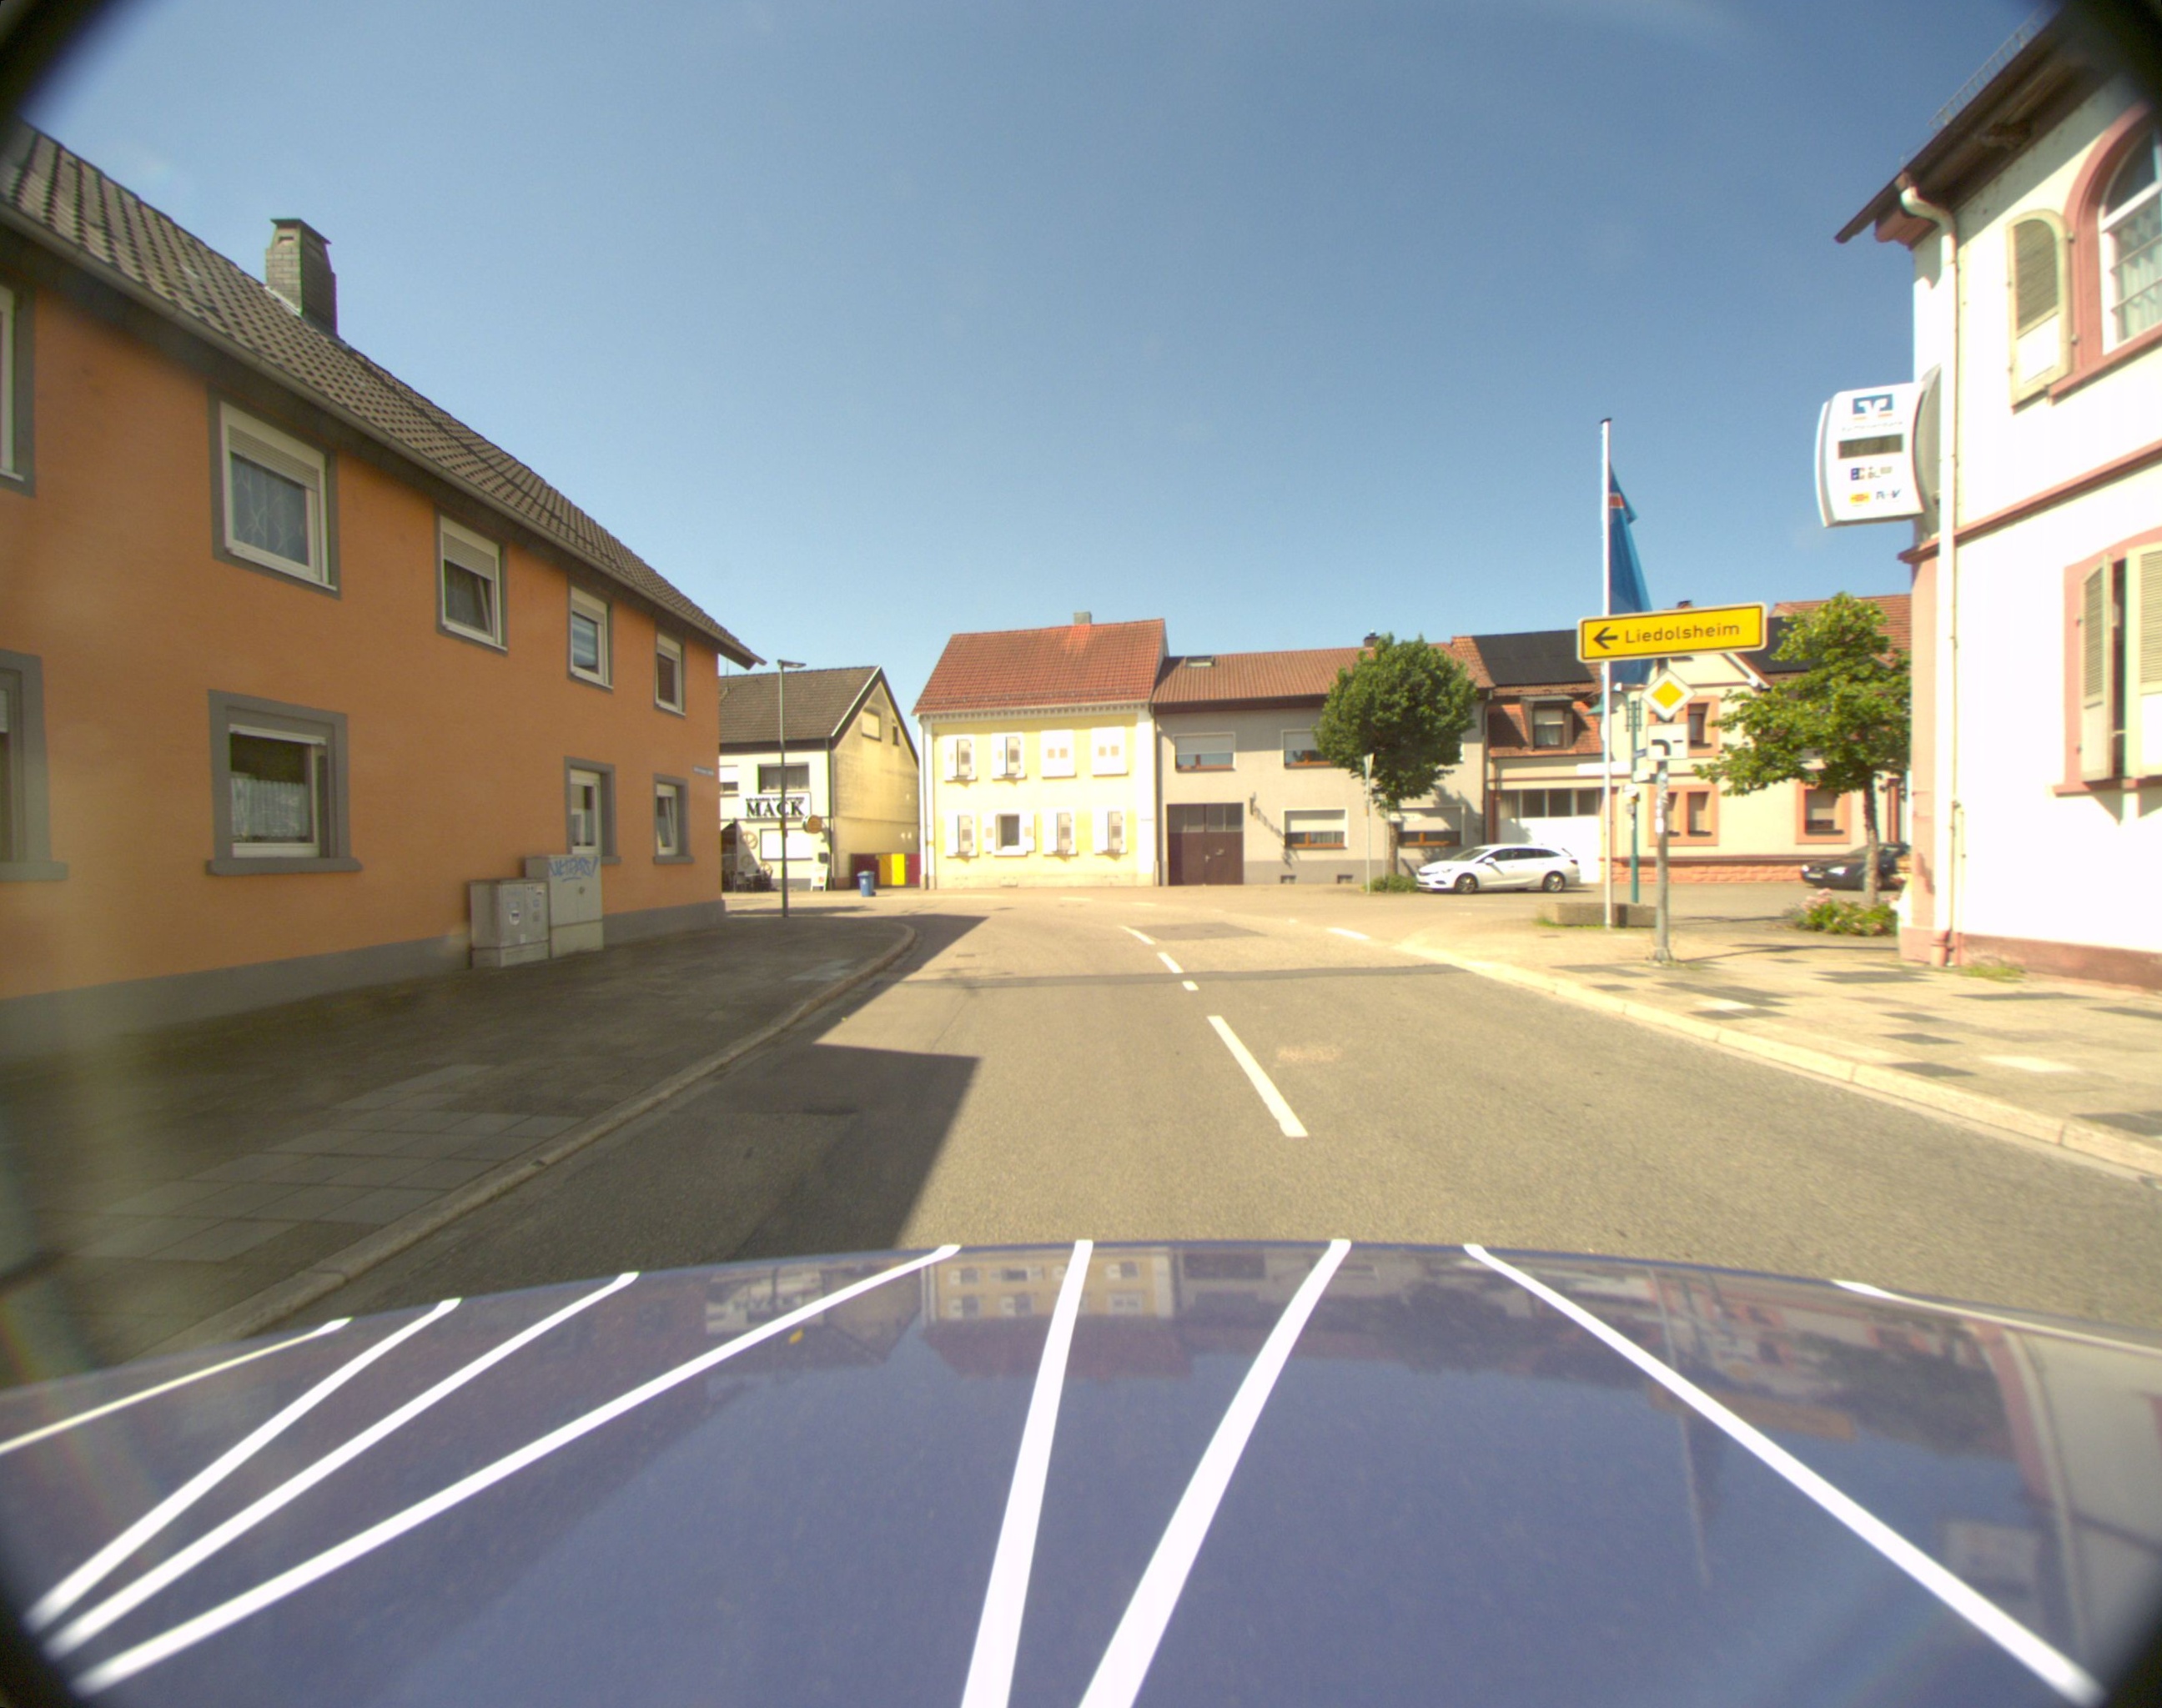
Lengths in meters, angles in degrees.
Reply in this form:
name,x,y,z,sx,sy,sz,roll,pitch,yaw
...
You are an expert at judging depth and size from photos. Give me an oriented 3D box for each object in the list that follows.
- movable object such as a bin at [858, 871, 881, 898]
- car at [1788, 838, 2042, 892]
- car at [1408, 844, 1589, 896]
name,x,y,z,sx,sy,sz,roll,pitch,yaw
movable object such as a bin,-7.963,1.138,28.592,0.613,0.975,0.645,-1,1,3
car,24.674,0.298,22.645,5.205,1.432,1.991,-1,1,3
car,12.644,0.457,23.188,4.510,1.432,1.855,-1,1,-2
